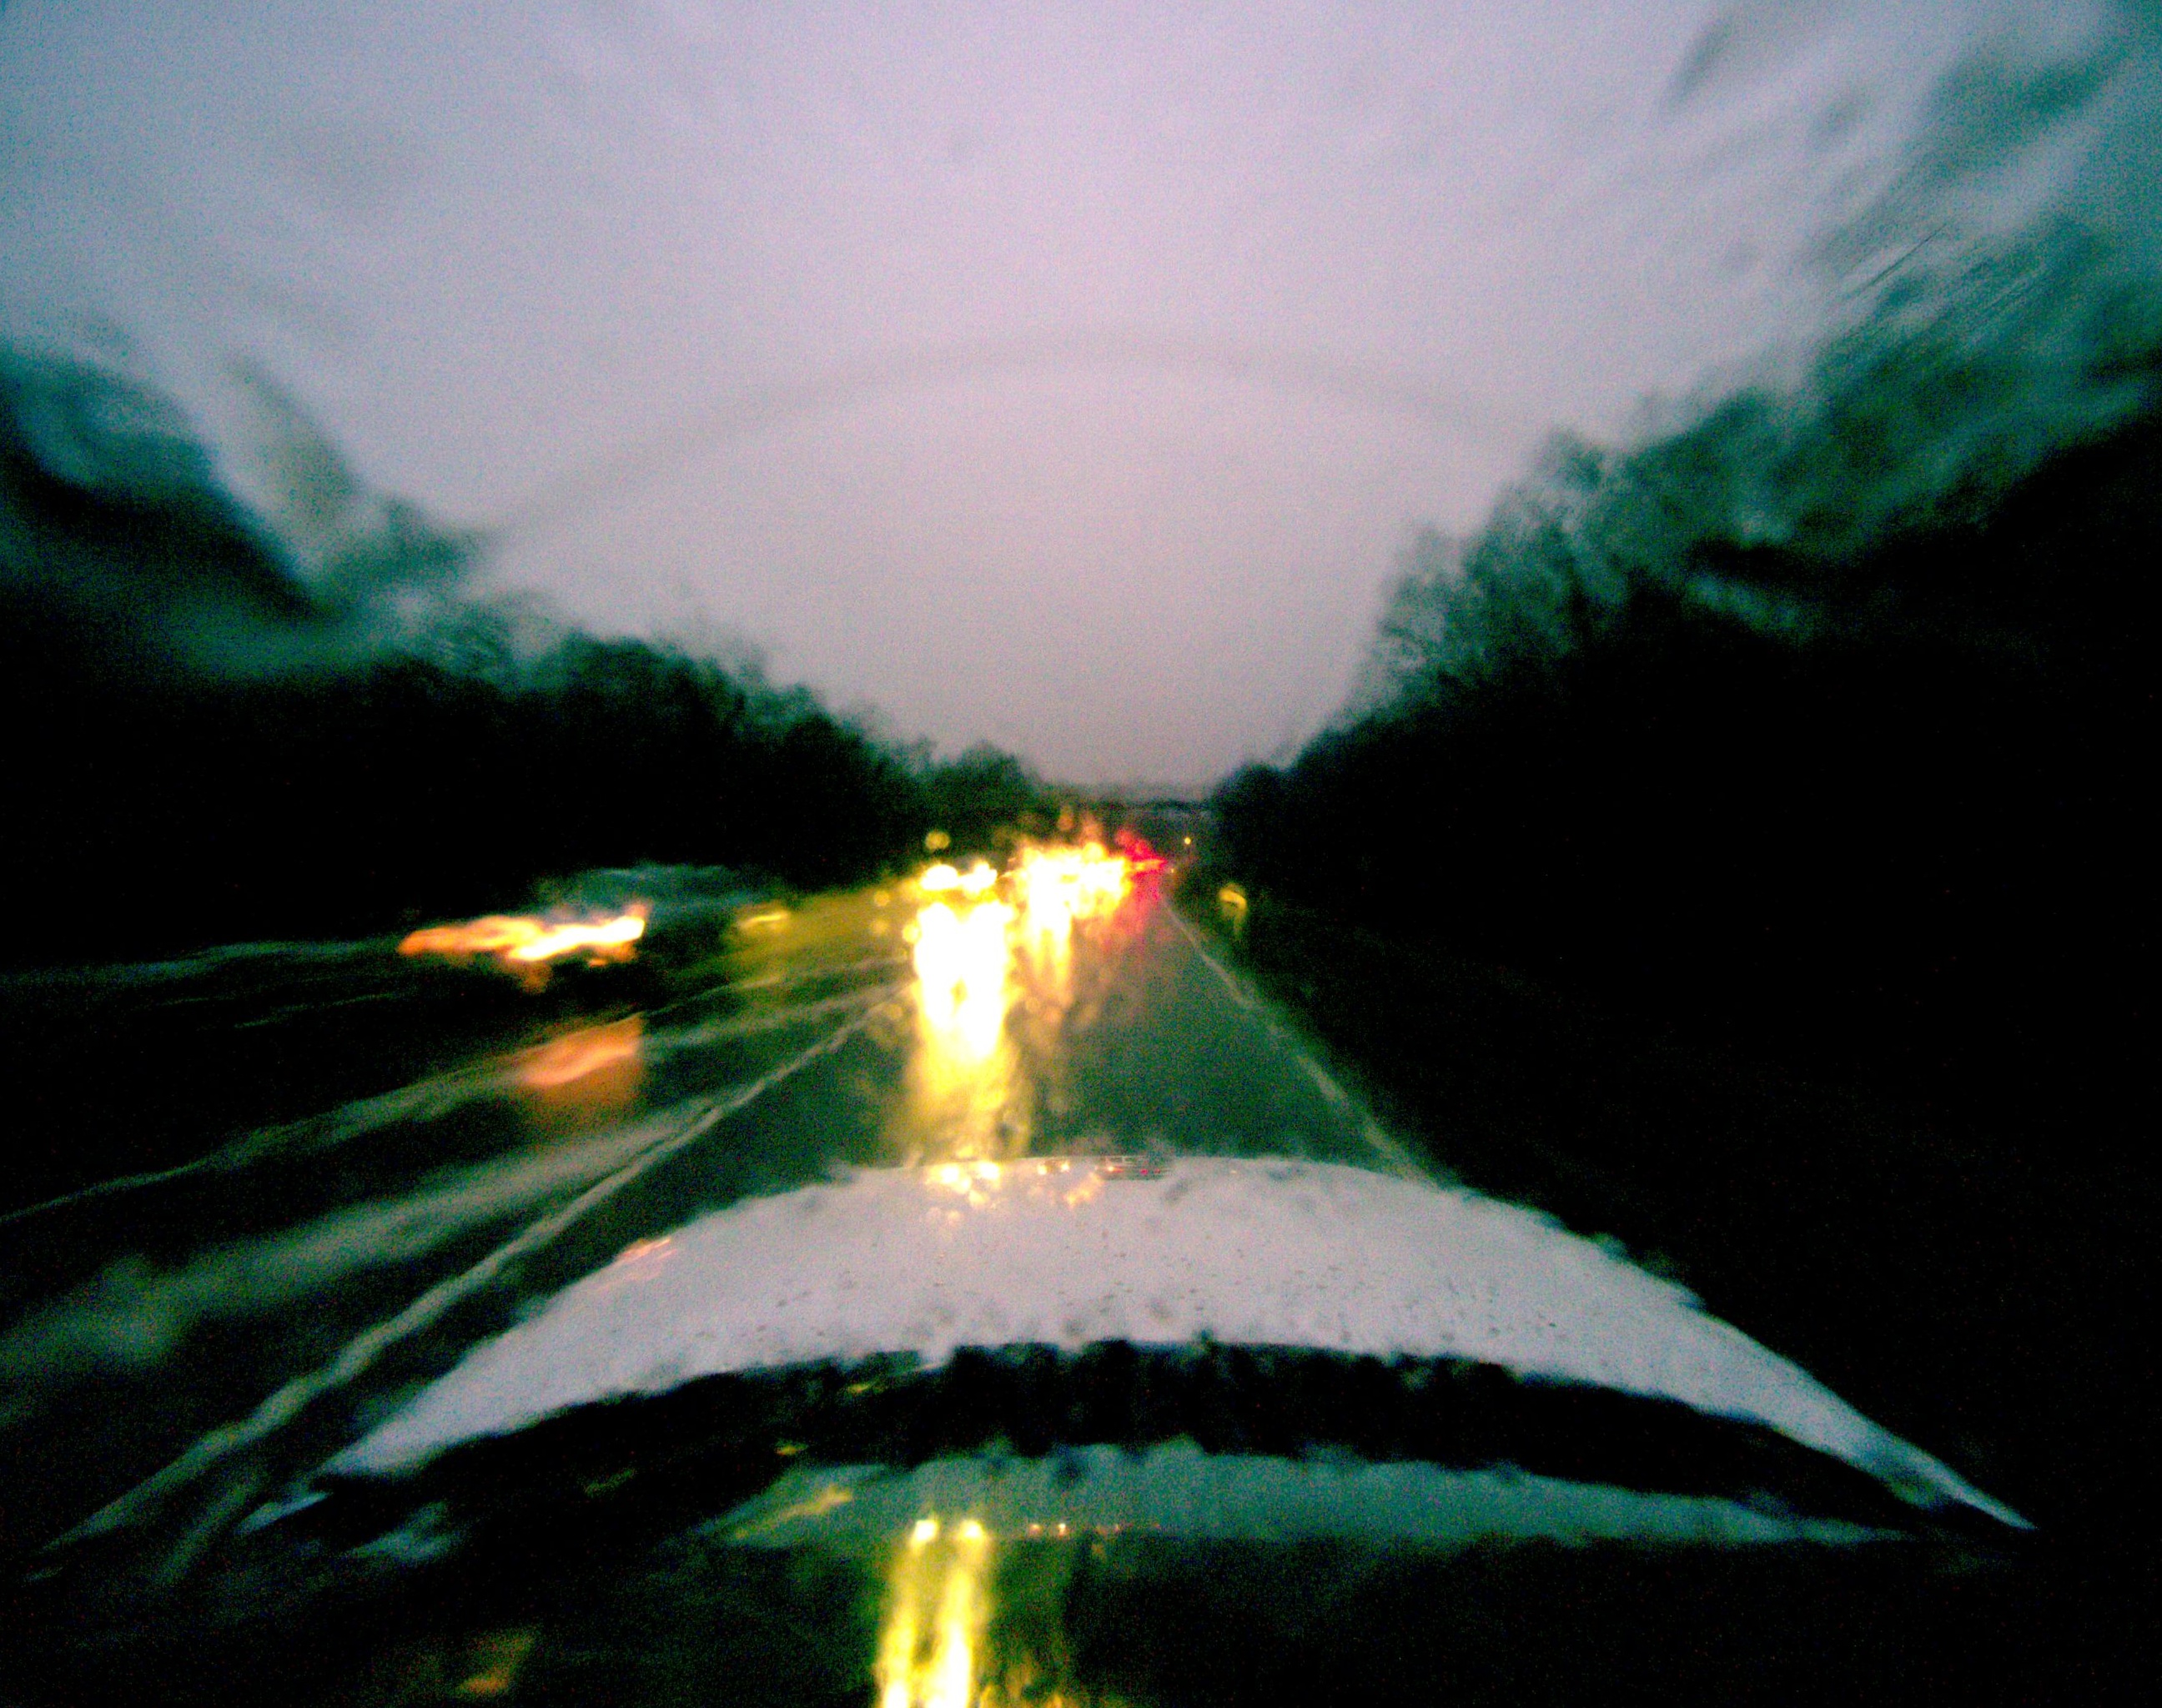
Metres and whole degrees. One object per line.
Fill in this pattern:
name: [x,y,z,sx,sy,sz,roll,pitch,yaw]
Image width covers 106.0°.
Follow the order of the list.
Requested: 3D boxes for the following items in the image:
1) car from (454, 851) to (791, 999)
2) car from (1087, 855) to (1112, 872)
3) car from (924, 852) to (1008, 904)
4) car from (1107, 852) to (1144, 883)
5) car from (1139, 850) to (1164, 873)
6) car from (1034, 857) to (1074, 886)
car: [-5.880,0.792,11.208,1.814,1.523,4.306,-2,1,6]
car: [1.616,0.820,70.749,1.795,1.453,4.385,-1,0,5]
car: [-3.972,0.784,29.034,1.893,1.648,4.734,-1,0,5]
car: [2.212,0.632,39.602,1.671,1.389,4.103,-2,0,4]
car: [5.533,0.576,63.875,1.669,1.675,4.107,-2,0,8]
car: [-1.587,1.068,49.387,1.851,1.647,4.475,-1,-1,6]
